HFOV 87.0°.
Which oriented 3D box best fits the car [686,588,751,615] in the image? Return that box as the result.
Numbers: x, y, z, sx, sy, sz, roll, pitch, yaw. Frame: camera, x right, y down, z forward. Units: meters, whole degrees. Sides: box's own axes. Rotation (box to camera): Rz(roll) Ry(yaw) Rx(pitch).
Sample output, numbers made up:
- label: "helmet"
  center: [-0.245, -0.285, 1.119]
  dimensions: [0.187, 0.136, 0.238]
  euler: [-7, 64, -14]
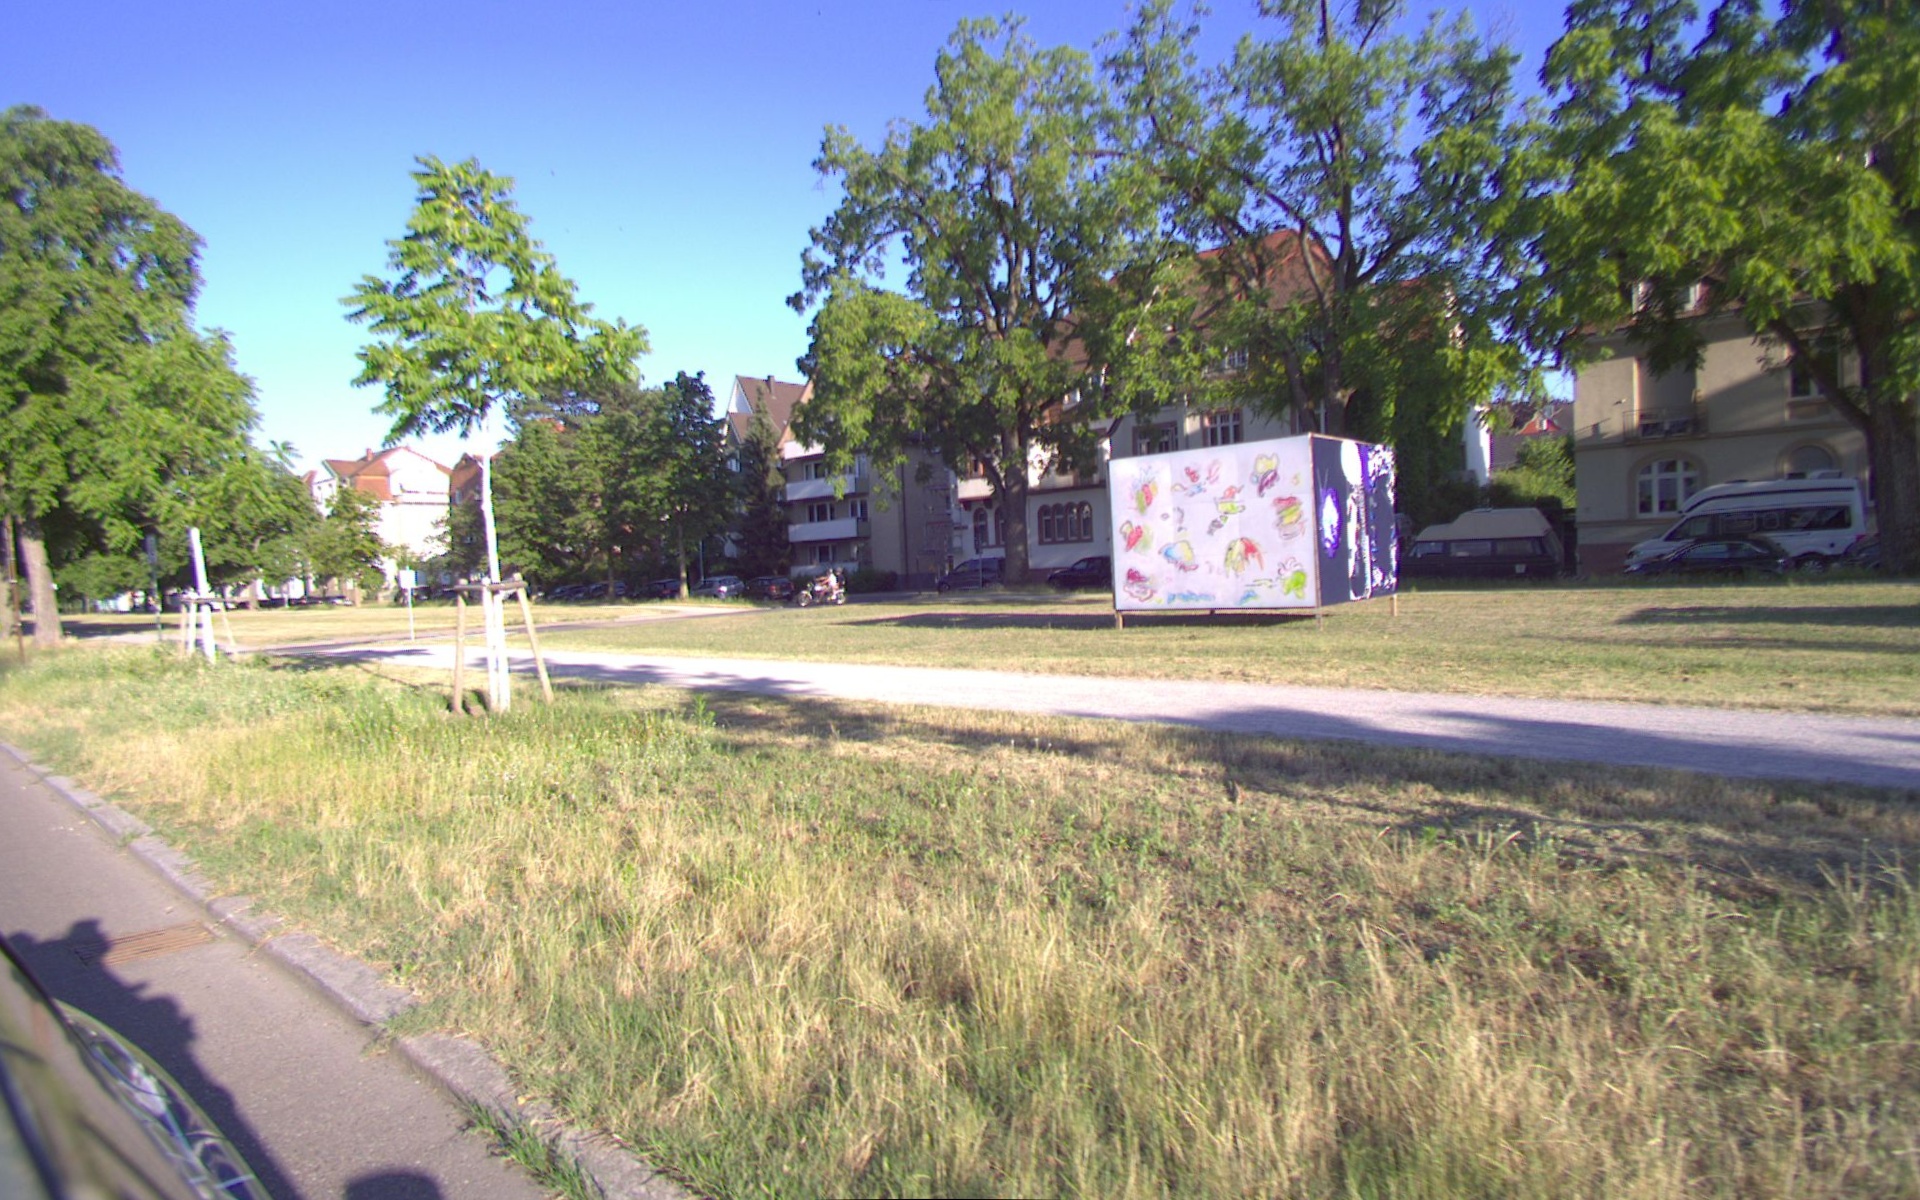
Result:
- label: "car"
  center: [-15.677, 0.091, 65.540]
  dimensions: [3.993, 1.510, 1.975]
  euler: [-3, 1, 37]

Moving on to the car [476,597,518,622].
- label: "car"
  center: [-40.003, 0.825, 87.395]
  dimensions: [4.001, 2.028, 1.971]
  euler: [-2, 1, 44]

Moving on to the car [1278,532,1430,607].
- label: "car"
  center: [14.881, -1.058, 38.439]
  dimensions: [5.043, 2.660, 1.924]
  euler: [0, -1, 42]

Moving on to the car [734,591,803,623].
- label: "car"
  center: [-10.079, 0.387, 53.158]
  dimensions: [1.868, 1.534, 3.683]
  euler: [-3, 0, -43]

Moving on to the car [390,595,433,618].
- label: "car"
  center: [-45.843, 0.537, 84.564]
  dimensions: [4.000, 1.858, 1.972]
  euler: [0, -1, 43]

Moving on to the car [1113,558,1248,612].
- label: "car"
  center: [8.010, -0.536, 36.889]
  dimensions: [4.341, 1.741, 1.973]
  euler: [-2, 1, 41]

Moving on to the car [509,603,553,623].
- label: "car"
  center: [-35.388, 1.056, 83.424]
  dimensions: [4.001, 1.617, 1.971]
  euler: [0, -1, 44]

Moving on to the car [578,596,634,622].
- label: "car"
  center: [-22.309, 0.572, 63.687]
  dimensions: [3.637, 1.426, 1.542]
  euler: [-3, 1, 37]

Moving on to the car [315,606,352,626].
- label: "car"
  center: [-60.864, 1.559, 98.348]
  dimensions: [3.999, 1.715, 1.973]
  euler: [-2, 1, 42]

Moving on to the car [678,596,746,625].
- label: "car"
  center: [-13.703, 0.575, 55.835]
  dimensions: [3.637, 1.418, 1.672]
  euler: [-3, 1, 37]

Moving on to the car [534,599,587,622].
- label: "car"
  center: [-26.463, 0.696, 66.966]
  dimensions: [3.637, 1.341, 1.542]
  euler: [-3, 1, 37]

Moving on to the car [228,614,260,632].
- label: "car"
  center: [-84.102, 2.732, 118.799]
  dimensions: [3.997, 2.029, 2.098]
  euler: [0, -1, 40]

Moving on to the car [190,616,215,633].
- label: "car"
  center: [-99.058, 3.177, 132.371]
  dimensions: [4.001, 2.028, 1.972]
  euler: [-2, 1, 44]

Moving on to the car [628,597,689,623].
- label: "car"
  center: [-17.731, 0.595, 59.480]
  dimensions: [3.637, 1.379, 1.542]
  euler: [-3, 1, 37]

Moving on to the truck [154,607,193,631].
- label: "truck"
  center: [-110.927, 2.684, 142.715]
  dimensions: [7.705, 3.169, 2.750]
  euler: [-2, 1, 40]

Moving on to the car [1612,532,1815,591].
- label: "car"
  center: [19.587, -0.979, 26.394]
  dimensions: [4.044, 1.325, 1.833]
  euler: [-1, 3, 44]

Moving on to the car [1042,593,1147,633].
- label: "car"
  center: [6.140, 0.617, 46.559]
  dimensions: [4.442, 1.673, 1.908]
  euler: [-2, 1, 42]

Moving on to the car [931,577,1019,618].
- label: "car"
  center: [0.720, -0.105, 50.901]
  dimensions: [4.281, 1.838, 1.605]
  euler: [-3, 1, 37]

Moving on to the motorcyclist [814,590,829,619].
- label: "motorcyclist"
  center: [-5.922, 0.188, 43.229]
  dimensions: [0.566, 1.158, 0.751]
  euler: [-3, 1, -6]

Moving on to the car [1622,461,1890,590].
- label: "car"
  center: [23.718, -2.094, 30.408]
  dimensions: [6.072, 3.273, 1.973]
  euler: [-2, 1, 42]

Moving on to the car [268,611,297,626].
- label: "car"
  center: [-85.183, 2.297, 127.228]
  dimensions: [3.995, 1.859, 1.974]
  euler: [0, -1, 39]

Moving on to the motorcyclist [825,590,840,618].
- label: "motorcyclist"
  center: [-5.463, 0.155, 43.268]
  dimensions: [0.566, 1.158, 0.751]
  euler: [-3, 1, -6]

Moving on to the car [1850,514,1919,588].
- label: "car"
  center: [23.588, -1.213, 22.991]
  dimensions: [4.948, 1.654, 1.974]
  euler: [-1, 3, 40]

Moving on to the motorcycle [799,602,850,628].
- label: "motorcycle"
  center: [-5.788, 0.632, 43.281]
  dimensions: [2.078, 0.964, 0.567]
  euler: [-3, 1, -7]

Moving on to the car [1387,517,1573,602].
- label: "car"
  center: [15.436, -1.162, 30.145]
  dimensions: [4.566, 2.190, 1.974]
  euler: [-3, 1, 39]

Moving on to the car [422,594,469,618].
- label: "car"
  center: [-40.743, 0.515, 80.107]
  dimensions: [4.000, 1.858, 1.972]
  euler: [0, -1, 43]

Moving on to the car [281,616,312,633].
- label: "car"
  center: [-79.707, 2.924, 121.572]
  dimensions: [3.995, 1.896, 1.974]
  euler: [0, -1, 39]
